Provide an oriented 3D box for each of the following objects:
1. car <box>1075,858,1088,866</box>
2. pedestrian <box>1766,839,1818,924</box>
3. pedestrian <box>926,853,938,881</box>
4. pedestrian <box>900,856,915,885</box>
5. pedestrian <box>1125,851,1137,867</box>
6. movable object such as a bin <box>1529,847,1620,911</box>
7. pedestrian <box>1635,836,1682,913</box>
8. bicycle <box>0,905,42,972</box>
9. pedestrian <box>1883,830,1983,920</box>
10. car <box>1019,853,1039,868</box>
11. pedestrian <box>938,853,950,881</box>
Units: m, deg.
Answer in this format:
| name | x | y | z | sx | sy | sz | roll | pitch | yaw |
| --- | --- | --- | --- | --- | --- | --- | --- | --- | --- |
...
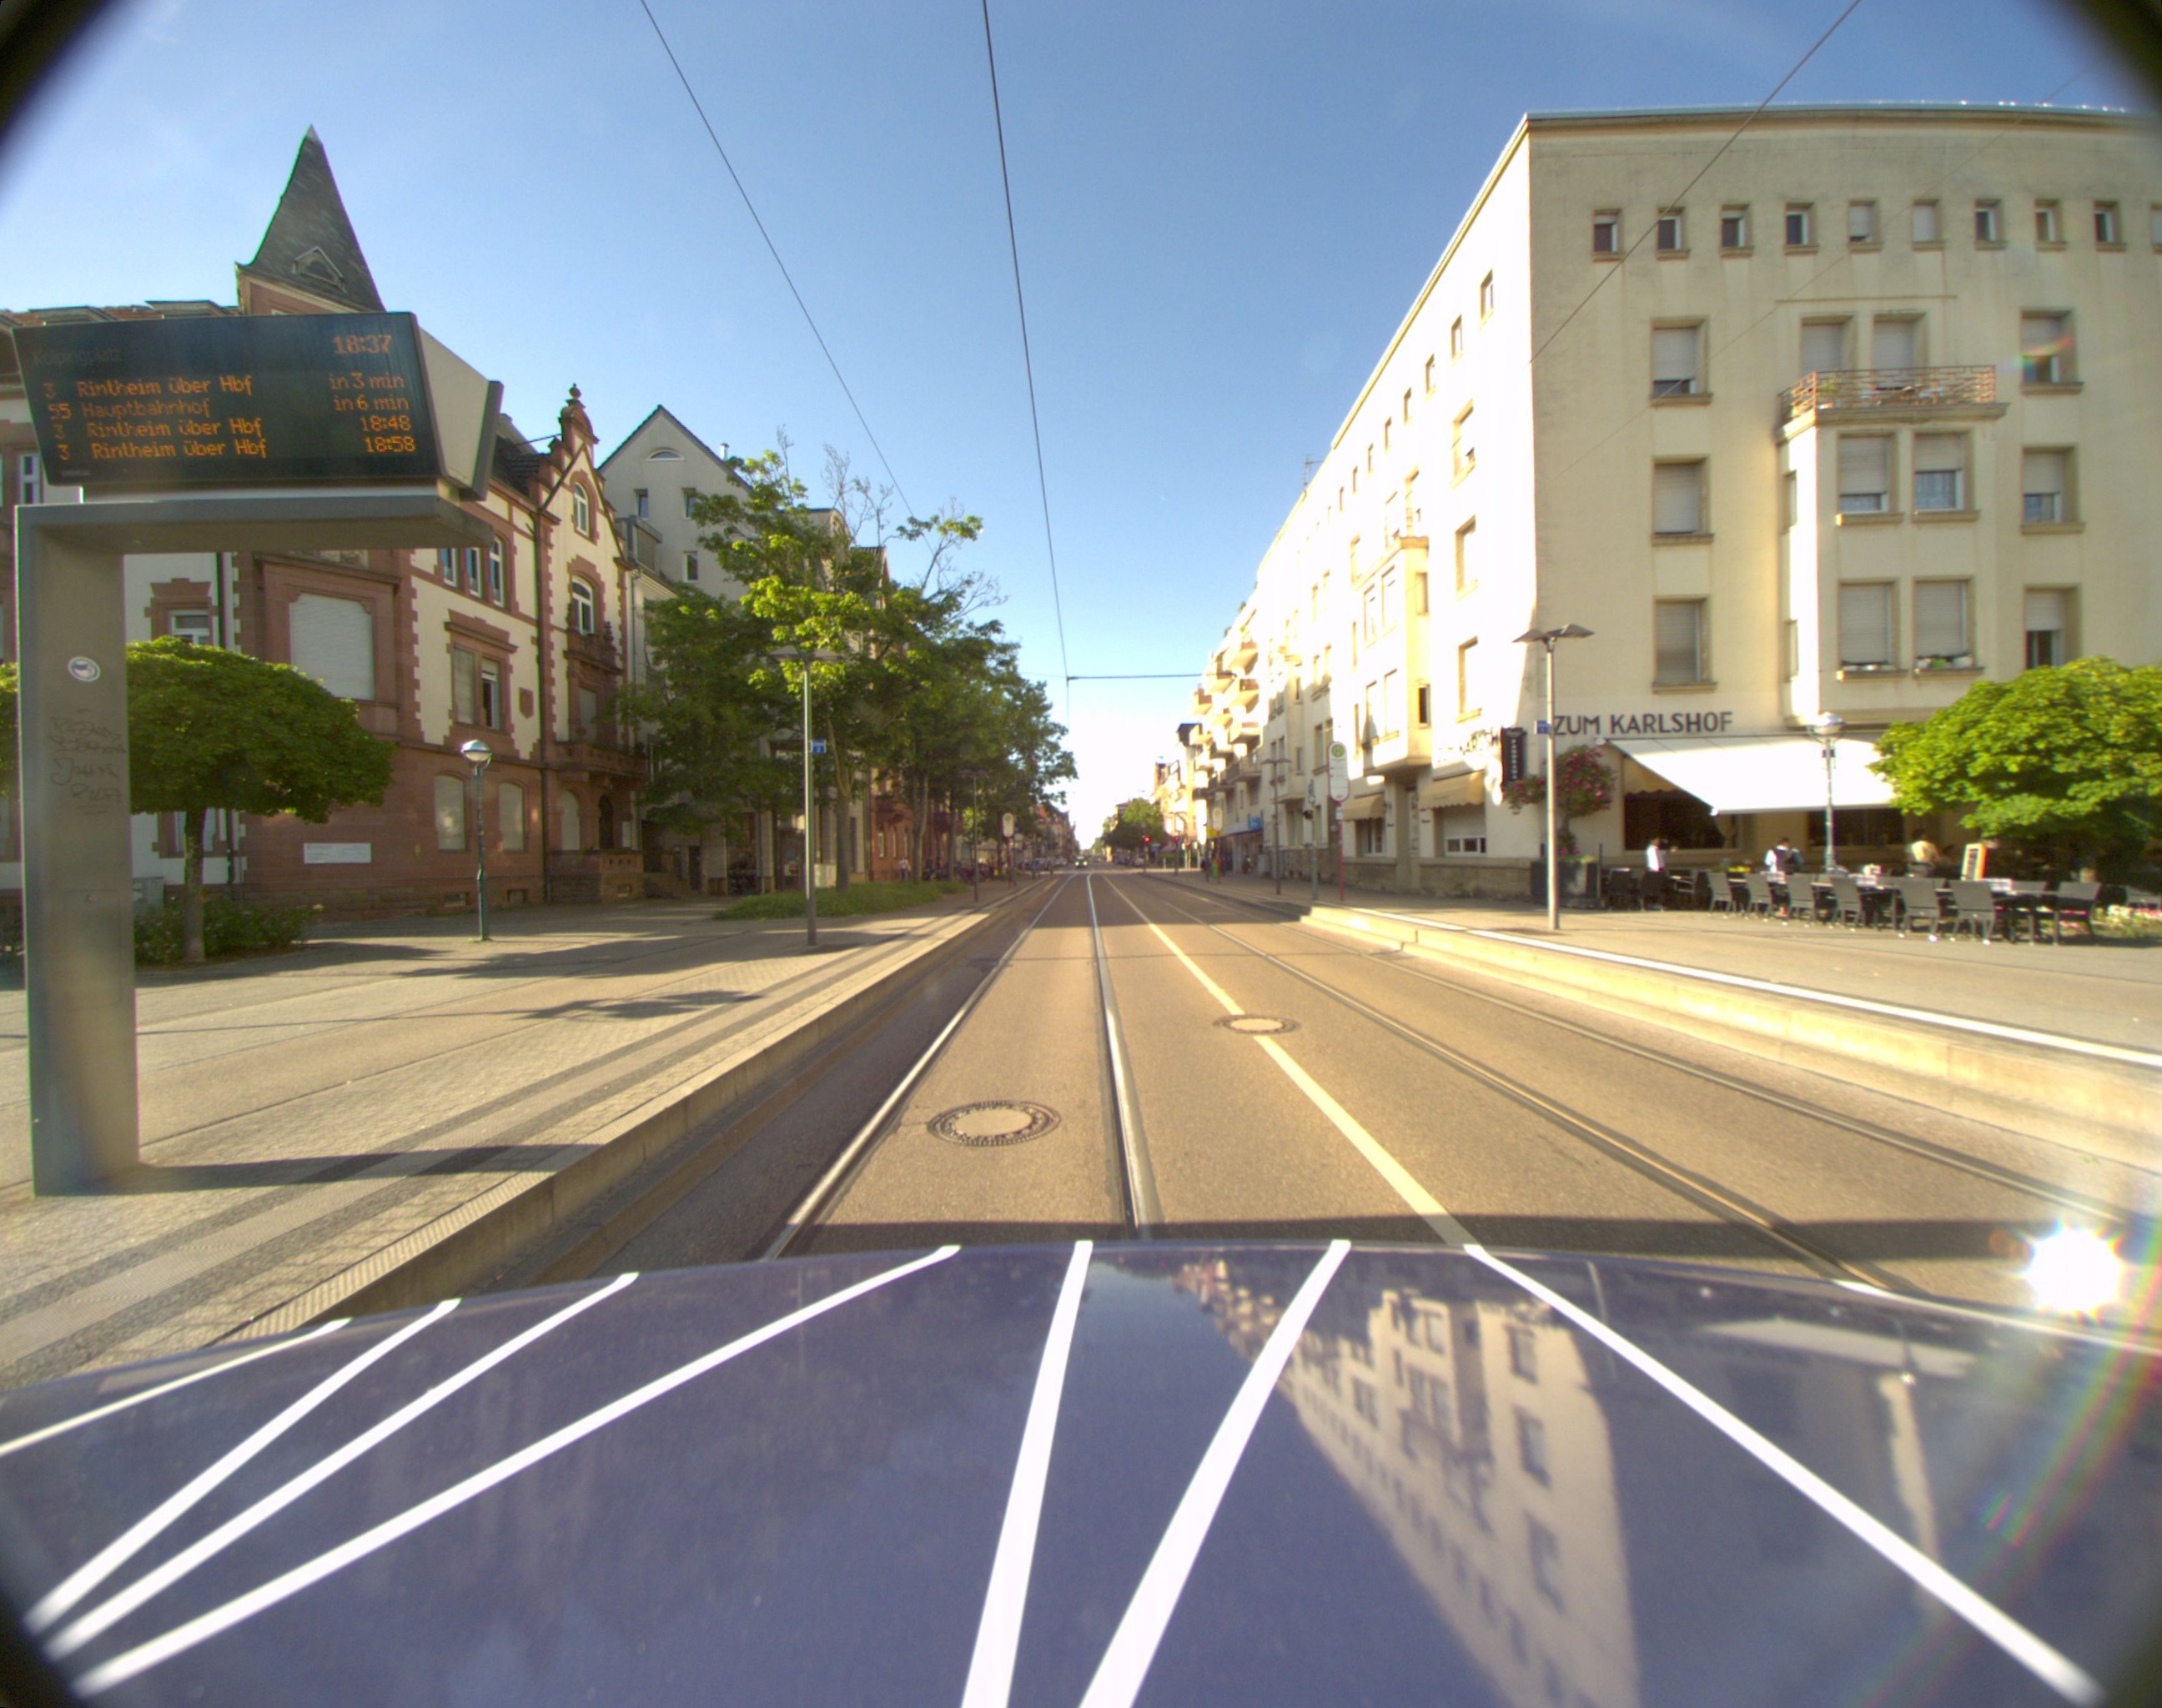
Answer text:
| name | x | y | z | sx | sy | sz | roll | pitch | yaw |
| --- | --- | --- | --- | --- | --- | --- | --- | --- | --- |
| car | 0.025 | 1.279 | 122.042 | 1.998 | 1.318 | 3.863 | -1 | 0 | 1 |
| pedestrian | 14.018 | 0.551 | 14.997 | 0.672 | 1.634 | 0.678 | -2 | -3 | 41 |
| pedestrian | -10.426 | 0.908 | 53.271 | 0.653 | 2.002 | 0.559 | -1 | 1 | 3 |
| pedestrian | -10.704 | 1.000 | 46.947 | 0.742 | 1.725 | 0.877 | -1 | 1 | -6 |
| pedestrian | 6.362 | 0.595 | 96.815 | 1.334 | 1.990 | 1.138 | -1 | 1 | 1 |
| movable object such as a bin | 11.176 | 0.552 | 17.248 | 1.318 | 1.392 | 1.128 | -1 | 0 | -1 |
| pedestrian | 12.620 | 0.458 | 16.618 | 0.672 | 1.634 | 0.752 | -1 | -3 | 28 |
| bicycle | -18.230 | 1.458 | 11.719 | 0.790 | 1.062 | 2.804 | -1 | 2 | -8 |
| pedestrian | 15.989 | 0.382 | 14.278 | 1.066 | 1.635 | 0.756 | -1 | 1 | -4 |
| car | -7.007 | 0.824 | 102.740 | 1.998 | 2.002 | 4.001 | -1 | 0 | 4 |
| pedestrian | -9.609 | 0.907 | 53.207 | 0.653 | 2.002 | 0.559 | -1 | 1 | 3 |
